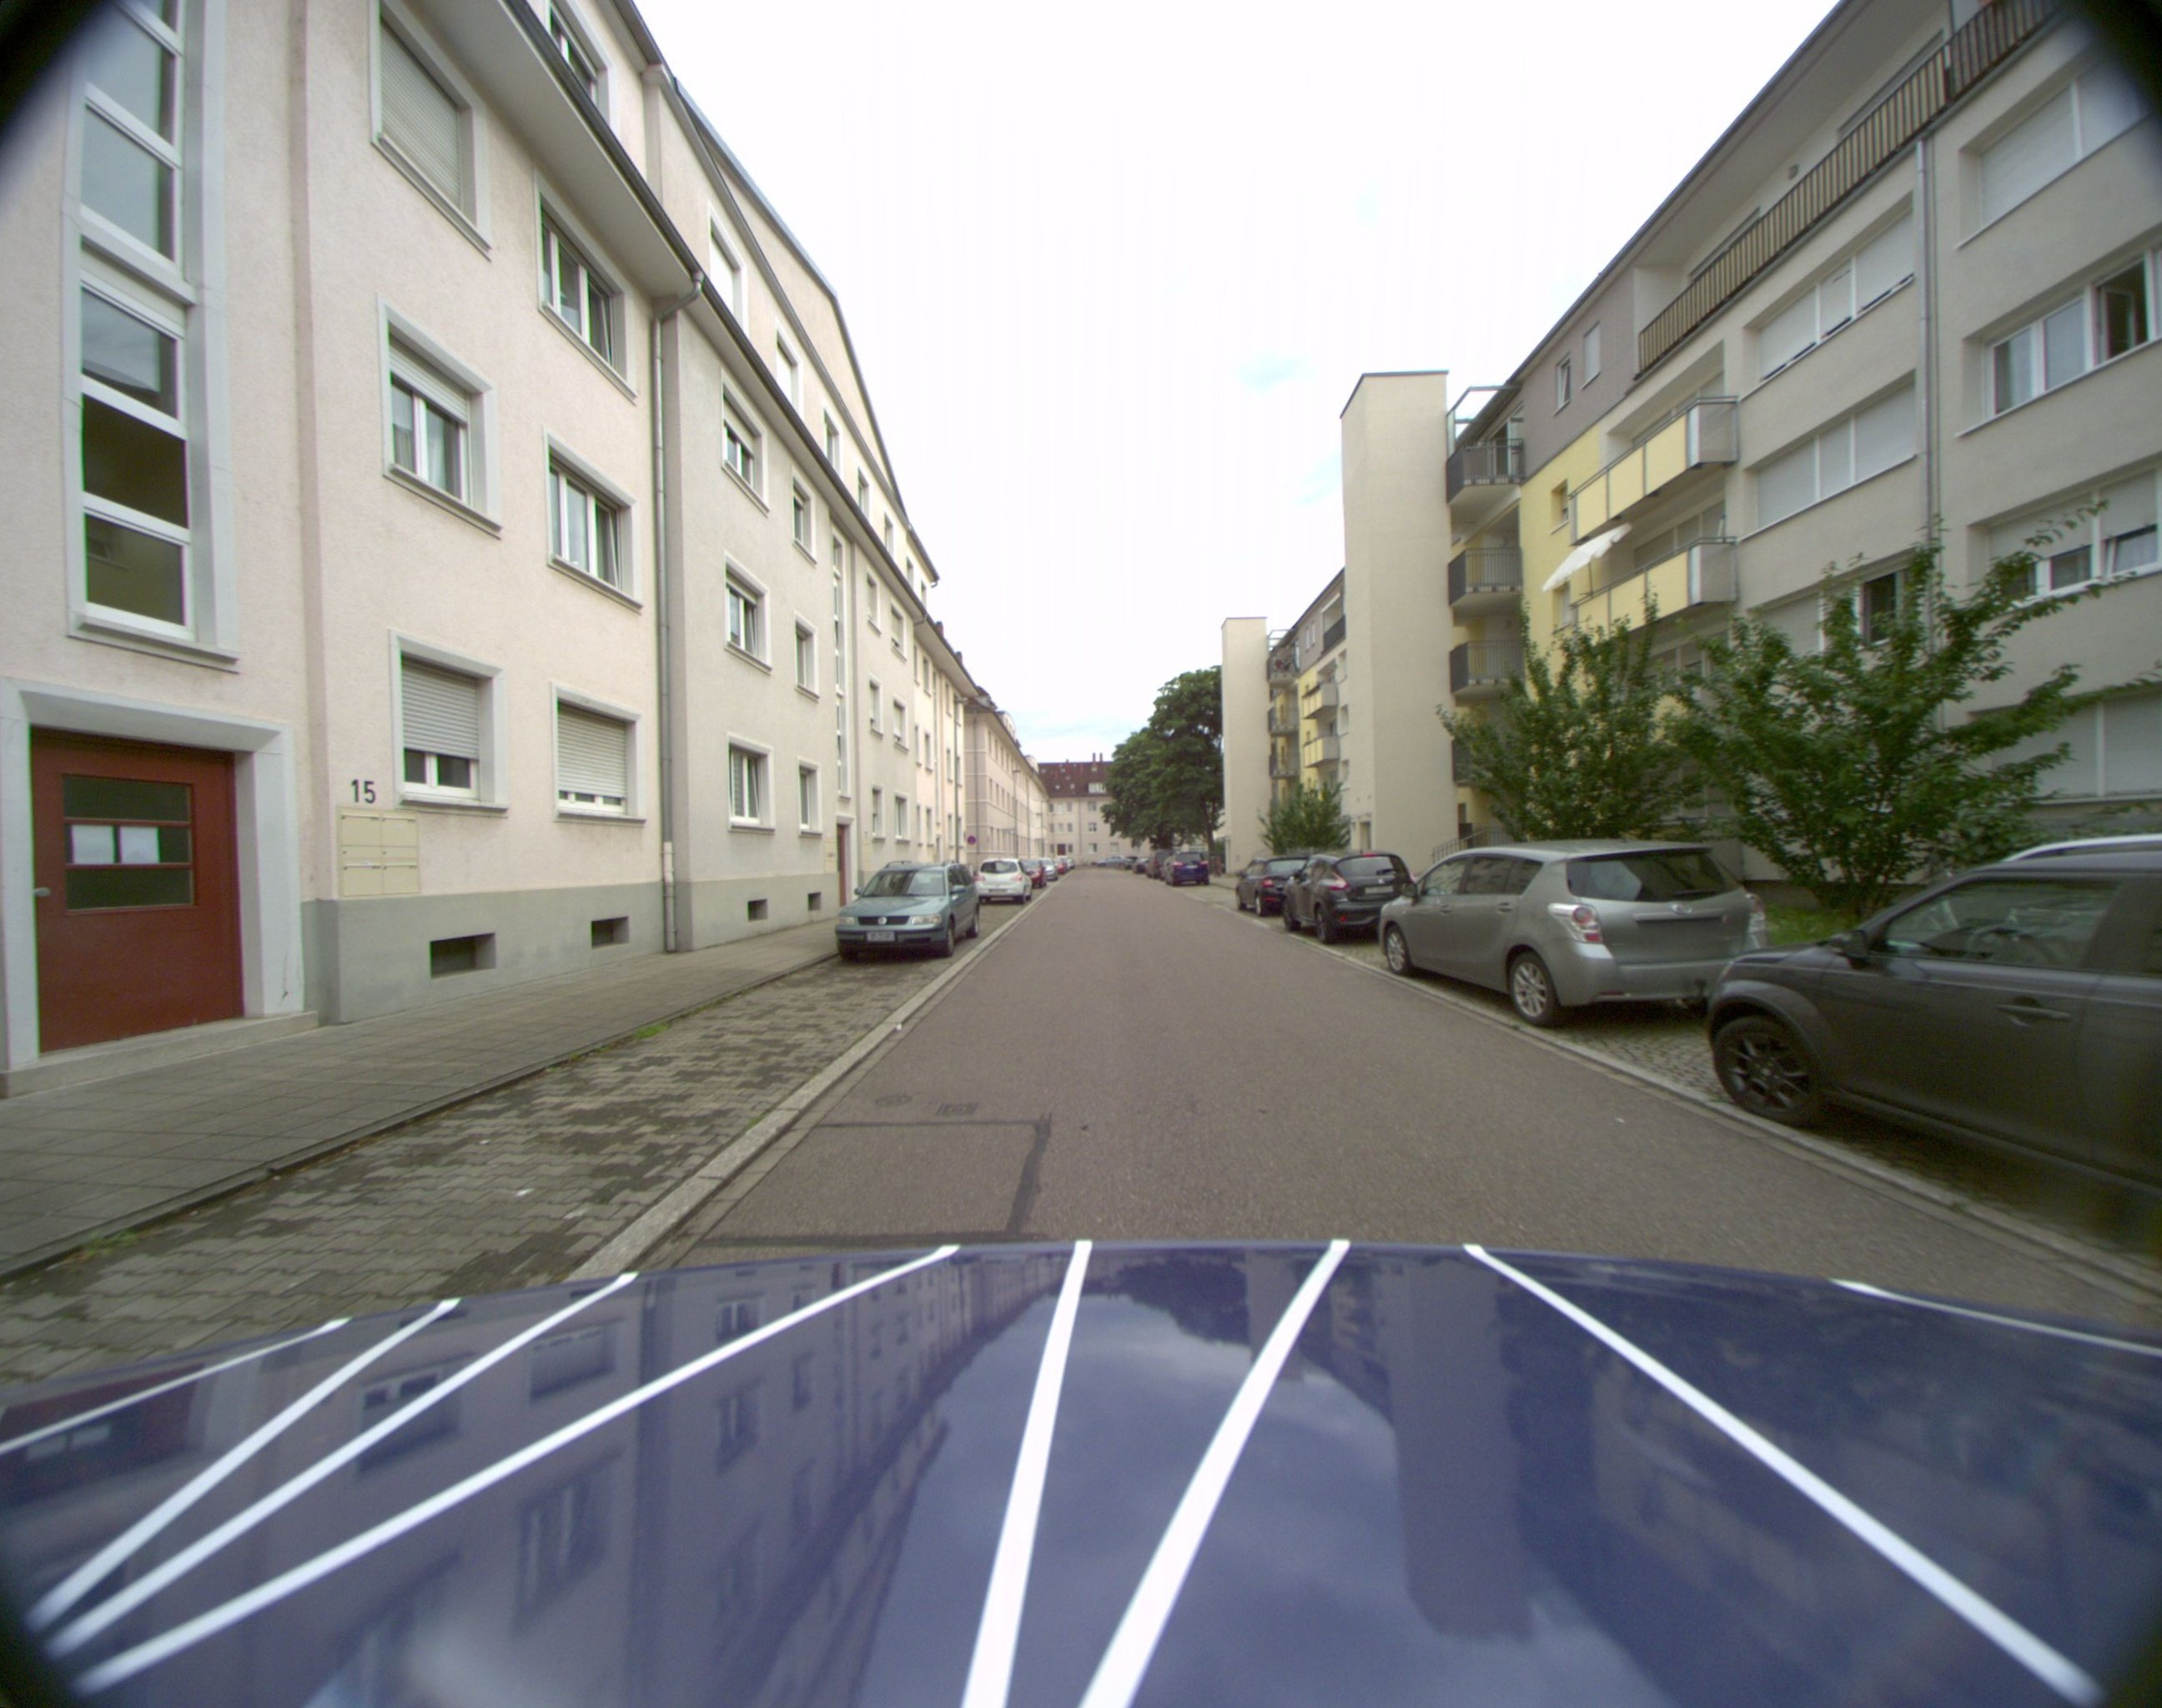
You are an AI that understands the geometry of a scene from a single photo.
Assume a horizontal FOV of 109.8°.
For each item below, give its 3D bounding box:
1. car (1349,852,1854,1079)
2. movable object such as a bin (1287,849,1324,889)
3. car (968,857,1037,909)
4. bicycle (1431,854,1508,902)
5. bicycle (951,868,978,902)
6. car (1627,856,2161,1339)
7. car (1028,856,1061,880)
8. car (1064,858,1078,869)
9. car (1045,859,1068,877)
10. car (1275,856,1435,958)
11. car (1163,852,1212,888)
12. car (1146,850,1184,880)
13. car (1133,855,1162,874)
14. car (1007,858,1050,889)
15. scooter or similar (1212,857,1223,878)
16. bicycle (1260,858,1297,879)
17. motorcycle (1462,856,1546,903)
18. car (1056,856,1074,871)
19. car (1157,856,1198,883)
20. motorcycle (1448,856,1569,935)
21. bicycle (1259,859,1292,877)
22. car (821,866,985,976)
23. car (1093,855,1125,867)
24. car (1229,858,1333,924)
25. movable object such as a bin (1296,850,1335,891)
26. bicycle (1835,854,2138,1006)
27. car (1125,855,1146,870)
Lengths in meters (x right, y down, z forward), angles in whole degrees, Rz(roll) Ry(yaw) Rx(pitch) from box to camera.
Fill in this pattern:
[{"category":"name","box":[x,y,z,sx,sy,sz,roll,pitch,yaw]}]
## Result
[{"category":"car","box":[4.700,0.819,8.020,1.839,1.561,4.861,-3,0,-1]},{"category":"movable object such as a bin","box":[8.698,0.569,29.500,1.004,1.492,1.314,-2,1,1]},{"category":"car","box":[-2.564,0.914,25.699,1.788,1.590,3.805,-1,0,2]},{"category":"bicycle","box":[10.259,0.623,20.090,1.727,1.218,0.609,-1,0,-4]},{"category":"bicycle","box":[-4.122,1.073,27.070,0.607,1.133,2.125,-1,0,0]},{"category":"car","box":[4.545,0.843,3.080,1.725,1.561,4.054,-3,0,1]},{"category":"car","box":[-2.253,0.847,47.497,1.792,1.455,4.040,-1,0,1]},{"category":"car","box":[-1.235,1.146,94.280,1.563,1.334,3.789,-1,0,1]},{"category":"car","box":[-2.116,1.194,66.589,1.758,1.477,3.773,0,0,1]},{"category":"car","box":[4.837,0.845,13.988,1.657,1.521,3.895,-3,0,3]},{"category":"car","box":[5.234,0.749,37.745,1.804,1.617,4.472,-3,0,1]},{"category":"car","box":[5.466,0.699,50.042,1.891,1.844,4.785,-1,0,0]},{"category":"car","box":[5.658,0.882,65.196,1.919,1.431,4.434,-3,0,-1]},{"category":"car","box":[-2.540,0.909,37.295,1.758,1.401,3.936,-1,0,1]},{"category":"scooter or similar","box":[8.027,0.799,44.742,0.438,1.236,1.136,-1,0,1]},{"category":"bicycle","box":[11.129,0.832,42.894,1.857,1.130,0.716,-1,0,-2]},{"category":"motorcycle","box":[10.460,0.621,18.812,1.753,1.122,0.593,0,0,-3]},{"category":"car","box":[-1.698,1.040,83.254,1.764,1.595,3.956,-1,0,1]},{"category":"car","box":[5.487,0.849,43.632,1.625,1.437,3.818,-3,0,-3]},{"category":"motorcycle","box":[7.854,0.716,14.121,0.871,1.299,2.420,-3,0,1]},{"category":"bicycle","box":[11.564,0.844,45.179,1.855,1.014,0.671,-1,0,8]},{"category":"car","box":[-2.800,0.983,12.941,1.729,1.460,4.264,-1,0,0]},{"category":"car","box":[4.002,0.966,108.412,4.545,1.551,1.565,-1,0,5]},{"category":"car","box":[5.032,0.867,19.595,1.647,1.430,3.856,-3,0,1]},{"category":"movable object such as a bin","box":[8.642,0.582,28.065,1.004,1.438,1.314,-2,1,1]},{"category":"bicycle","box":[7.959,0.596,6.816,0.553,1.185,1.727,-1,0,-6]},{"category":"car","box":[6.052,0.909,85.070,2.000,1.566,4.210,-3,0,1]}]
